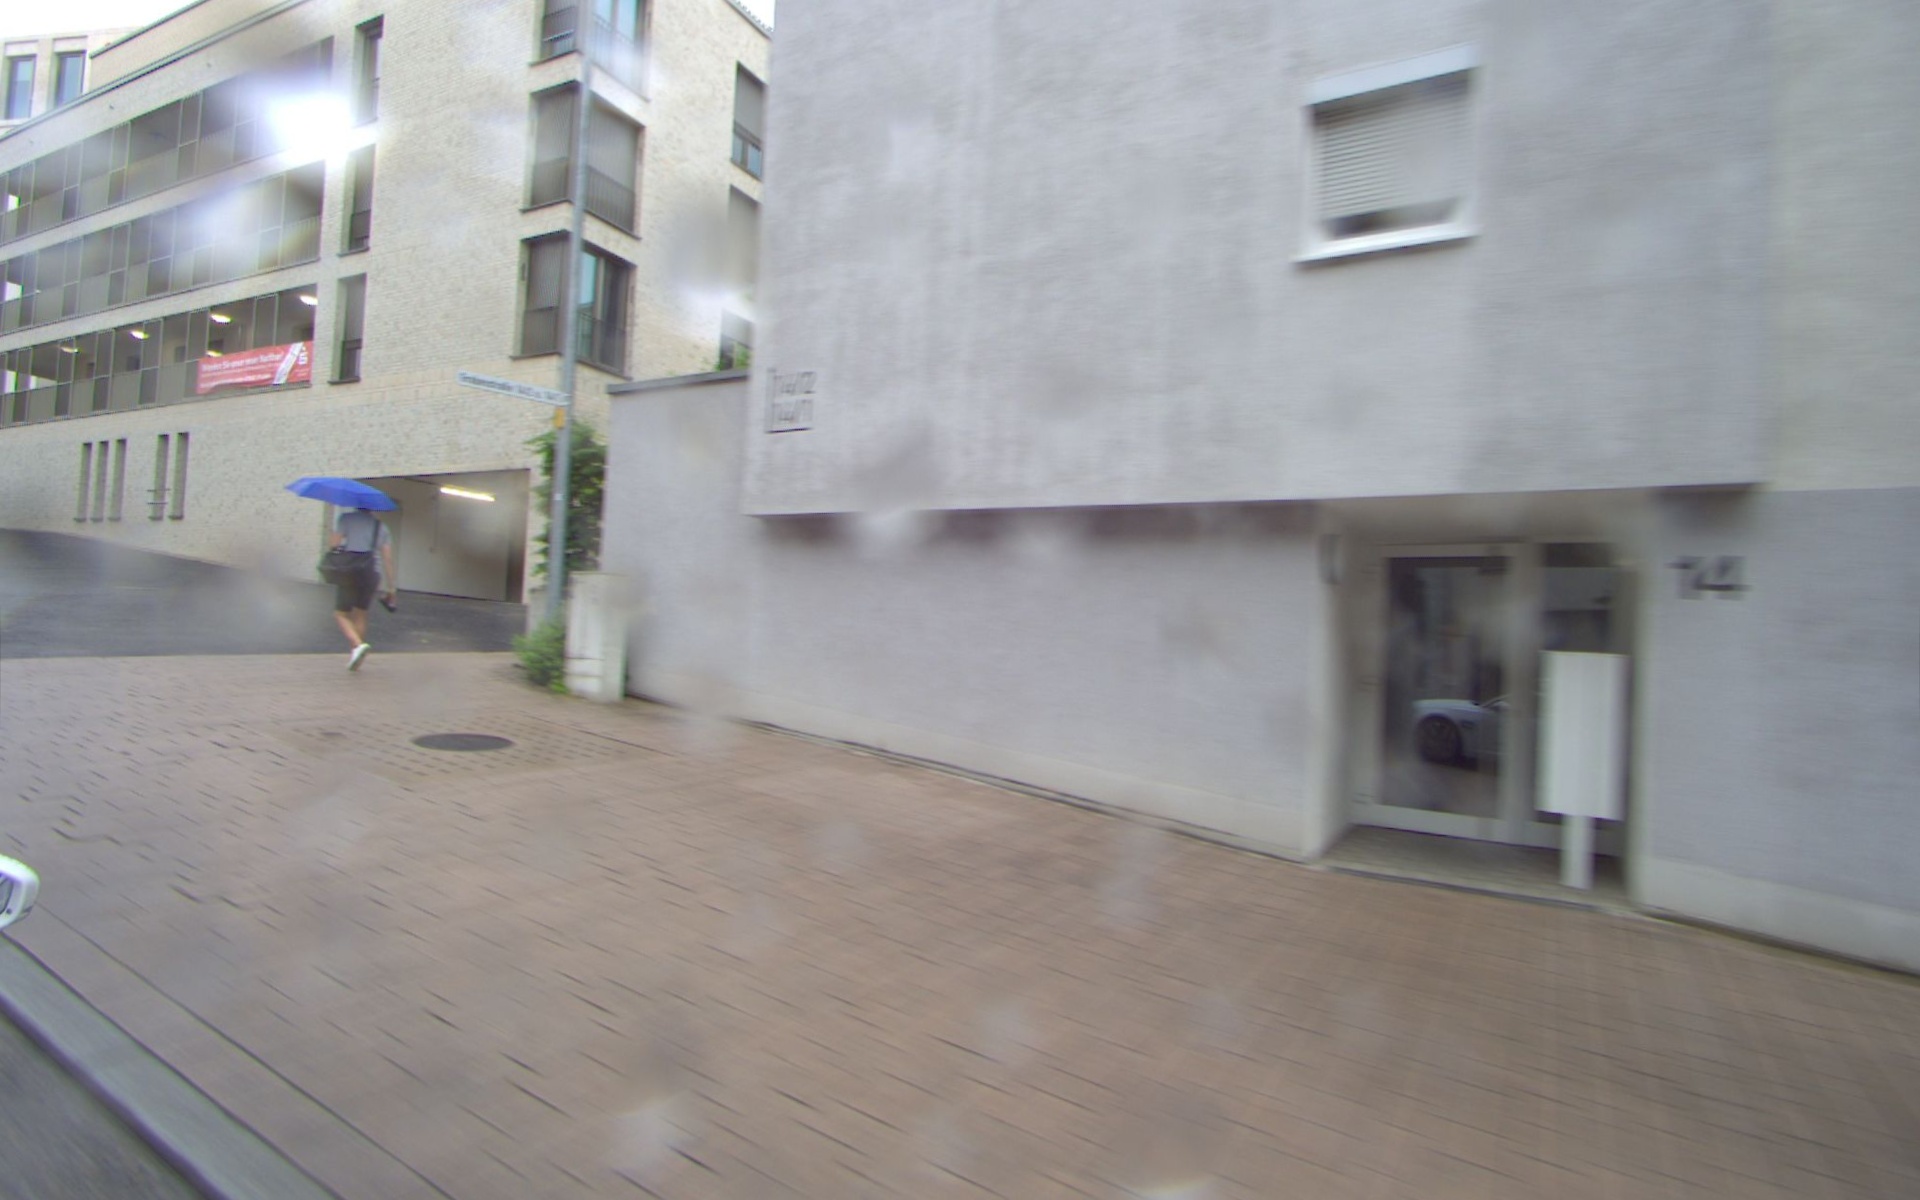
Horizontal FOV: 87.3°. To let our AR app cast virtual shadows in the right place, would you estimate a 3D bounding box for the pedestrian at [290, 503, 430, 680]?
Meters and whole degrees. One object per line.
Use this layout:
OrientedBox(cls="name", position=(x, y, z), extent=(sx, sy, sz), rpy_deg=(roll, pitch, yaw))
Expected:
OrientedBox(cls="pedestrian", position=(-5.757, -0.092, 9.655), extent=(1.021, 1.563, 0.735), rpy_deg=(7, 4, 34))
